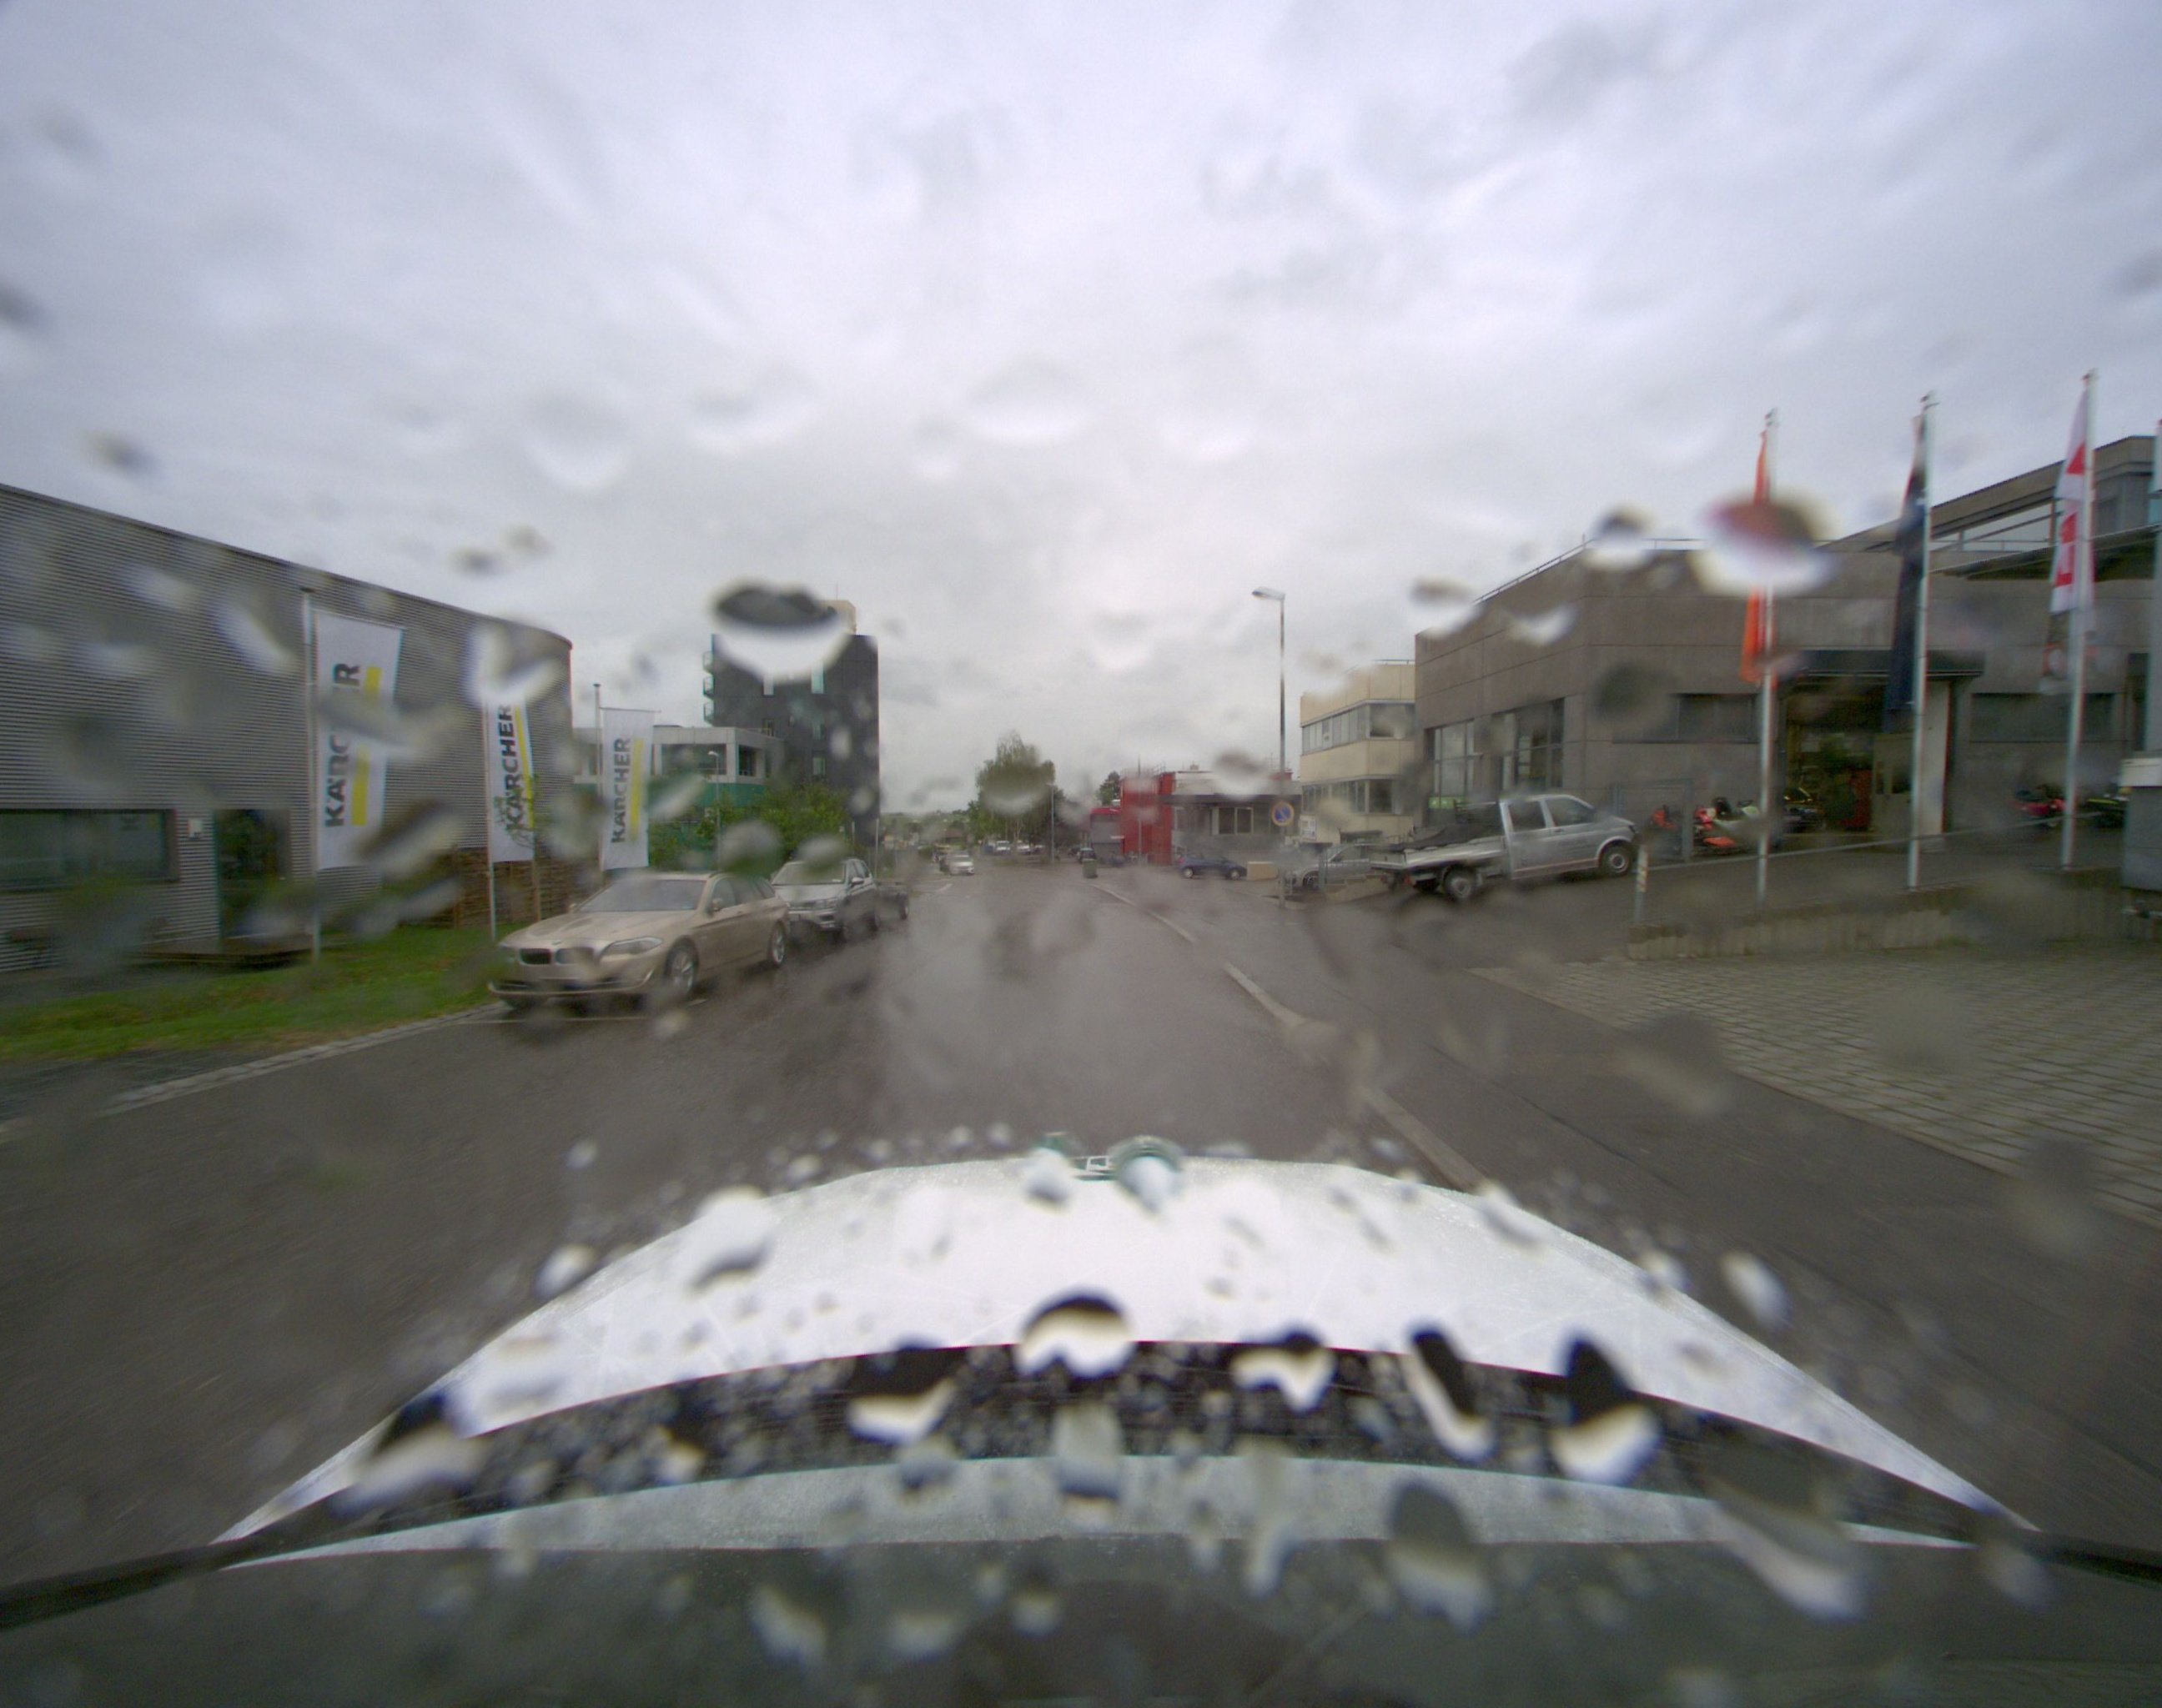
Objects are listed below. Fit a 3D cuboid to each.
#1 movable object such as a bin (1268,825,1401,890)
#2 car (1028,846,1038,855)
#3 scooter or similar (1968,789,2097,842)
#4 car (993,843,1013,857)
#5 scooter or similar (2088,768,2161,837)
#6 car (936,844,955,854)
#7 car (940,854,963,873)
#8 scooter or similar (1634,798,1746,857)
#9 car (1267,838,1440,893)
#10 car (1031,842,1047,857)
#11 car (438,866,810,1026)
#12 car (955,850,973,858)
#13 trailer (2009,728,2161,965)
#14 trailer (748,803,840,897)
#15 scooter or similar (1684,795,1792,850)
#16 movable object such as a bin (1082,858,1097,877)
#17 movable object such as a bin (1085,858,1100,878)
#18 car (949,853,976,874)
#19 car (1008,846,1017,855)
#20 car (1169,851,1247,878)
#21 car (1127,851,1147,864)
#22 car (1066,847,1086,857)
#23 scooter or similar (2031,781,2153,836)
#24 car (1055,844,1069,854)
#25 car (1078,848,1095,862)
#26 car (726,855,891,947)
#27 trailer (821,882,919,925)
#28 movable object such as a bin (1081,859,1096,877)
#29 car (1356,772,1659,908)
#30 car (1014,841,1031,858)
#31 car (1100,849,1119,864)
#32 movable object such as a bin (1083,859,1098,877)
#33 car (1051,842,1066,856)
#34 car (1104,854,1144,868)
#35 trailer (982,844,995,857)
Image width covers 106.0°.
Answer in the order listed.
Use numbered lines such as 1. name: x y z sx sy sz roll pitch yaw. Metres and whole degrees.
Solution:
1. movable object such as a bin: 8.963 0.120 28.954 4.242 2.110 1.476 -2 0 -1
2. car: -7.677 -0.550 129.587 1.397 1.326 2.693 -1 -1 -8
3. scooter or similar: 22.740 -0.896 19.520 0.994 1.174 1.769 -1 0 0
4. car: -11.790 -0.575 122.392 2.270 2.014 3.977 -1 -1 -17
5. scooter or similar: 25.624 -1.222 19.526 0.962 1.579 1.587 -1 0 -5
6. car: -33.340 -1.175 200.948 4.221 2.226 2.002 -1 -1 4
7. car: -12.048 0.842 75.525 1.703 1.609 3.981 -2 1 -14
8. scooter or similar: 14.252 -0.629 19.159 1.060 1.224 2.065 -5 2 2
9. car: 8.980 0.361 27.088 5.079 1.613 1.923 -2 0 -3
10. car: -6.383 -0.671 124.012 2.144 2.014 3.928 -1 -1 -8
11. car: -5.357 0.938 10.617 1.950 1.461 5.244 -1 0 -1
12. car: -23.987 0.063 167.337 2.475 1.539 3.963 -1 -1 -28
13. trailer: 11.950 -0.081 7.521 1.881 2.416 4.308 -1 1 0
14. trailer: -13.613 -0.153 38.547 4.132 4.203 2.019 -2 0 37
15. scooter or similar: 15.467 -0.708 19.251 1.000 1.155 1.846 -5 0 1
16. movable object such as a bin: 0.523 0.825 49.147 0.808 1.090 0.540 -2 0 -7
17. movable object such as a bin: 0.686 0.820 47.931 0.805 1.092 0.708 -2 0 -7
18. car: -9.449 0.757 64.850 1.772 1.513 4.126 -2 -1 -13
19. car: -10.793 -0.528 128.463 1.289 1.424 2.539 -1 -1 -8
20. car: 6.800 0.577 43.863 3.885 1.383 1.819 1 -1 -3
21. car: 6.058 0.397 88.291 1.724 1.422 3.997 -1 -1 -2
22. car: -0.728 -0.247 110.436 2.545 1.352 1.239 -1 0 -7
23. scooter or similar: 24.350 -1.076 19.662 0.929 1.218 1.587 -1 0 -5
24. car: -3.036 -0.828 130.380 1.637 1.453 3.498 -1 -1 -11
25. car: 0.619 0.127 88.373 1.692 1.475 3.997 -1 -1 -2
26. car: -5.437 0.879 16.993 1.953 1.577 4.834 -2 -1 -3
27. trailer: -5.416 1.248 21.370 1.676 0.888 3.893 -1 -1 -2
28. movable object such as a bin: 0.460 0.830 49.703 0.808 1.076 0.580 -2 0 -7
29. car: 9.149 -0.282 17.827 5.285 2.013 2.220 -9 -1 -2
30. car: -8.804 -0.683 122.947 2.193 2.459 3.986 -1 -1 -10
31. car: 3.111 0.297 89.142 1.734 1.653 3.997 -1 -1 -2
32. movable object such as a bin: 0.572 0.826 48.574 0.774 1.076 0.582 -2 0 -7
33. car: -3.440 -0.730 124.471 1.780 2.014 3.622 -1 -1 -8
34. car: 3.698 0.591 70.655 3.389 1.163 1.791 -1 0 0
35. trailer: -14.373 -0.523 126.296 1.852 2.013 3.987 -1 0 -9
